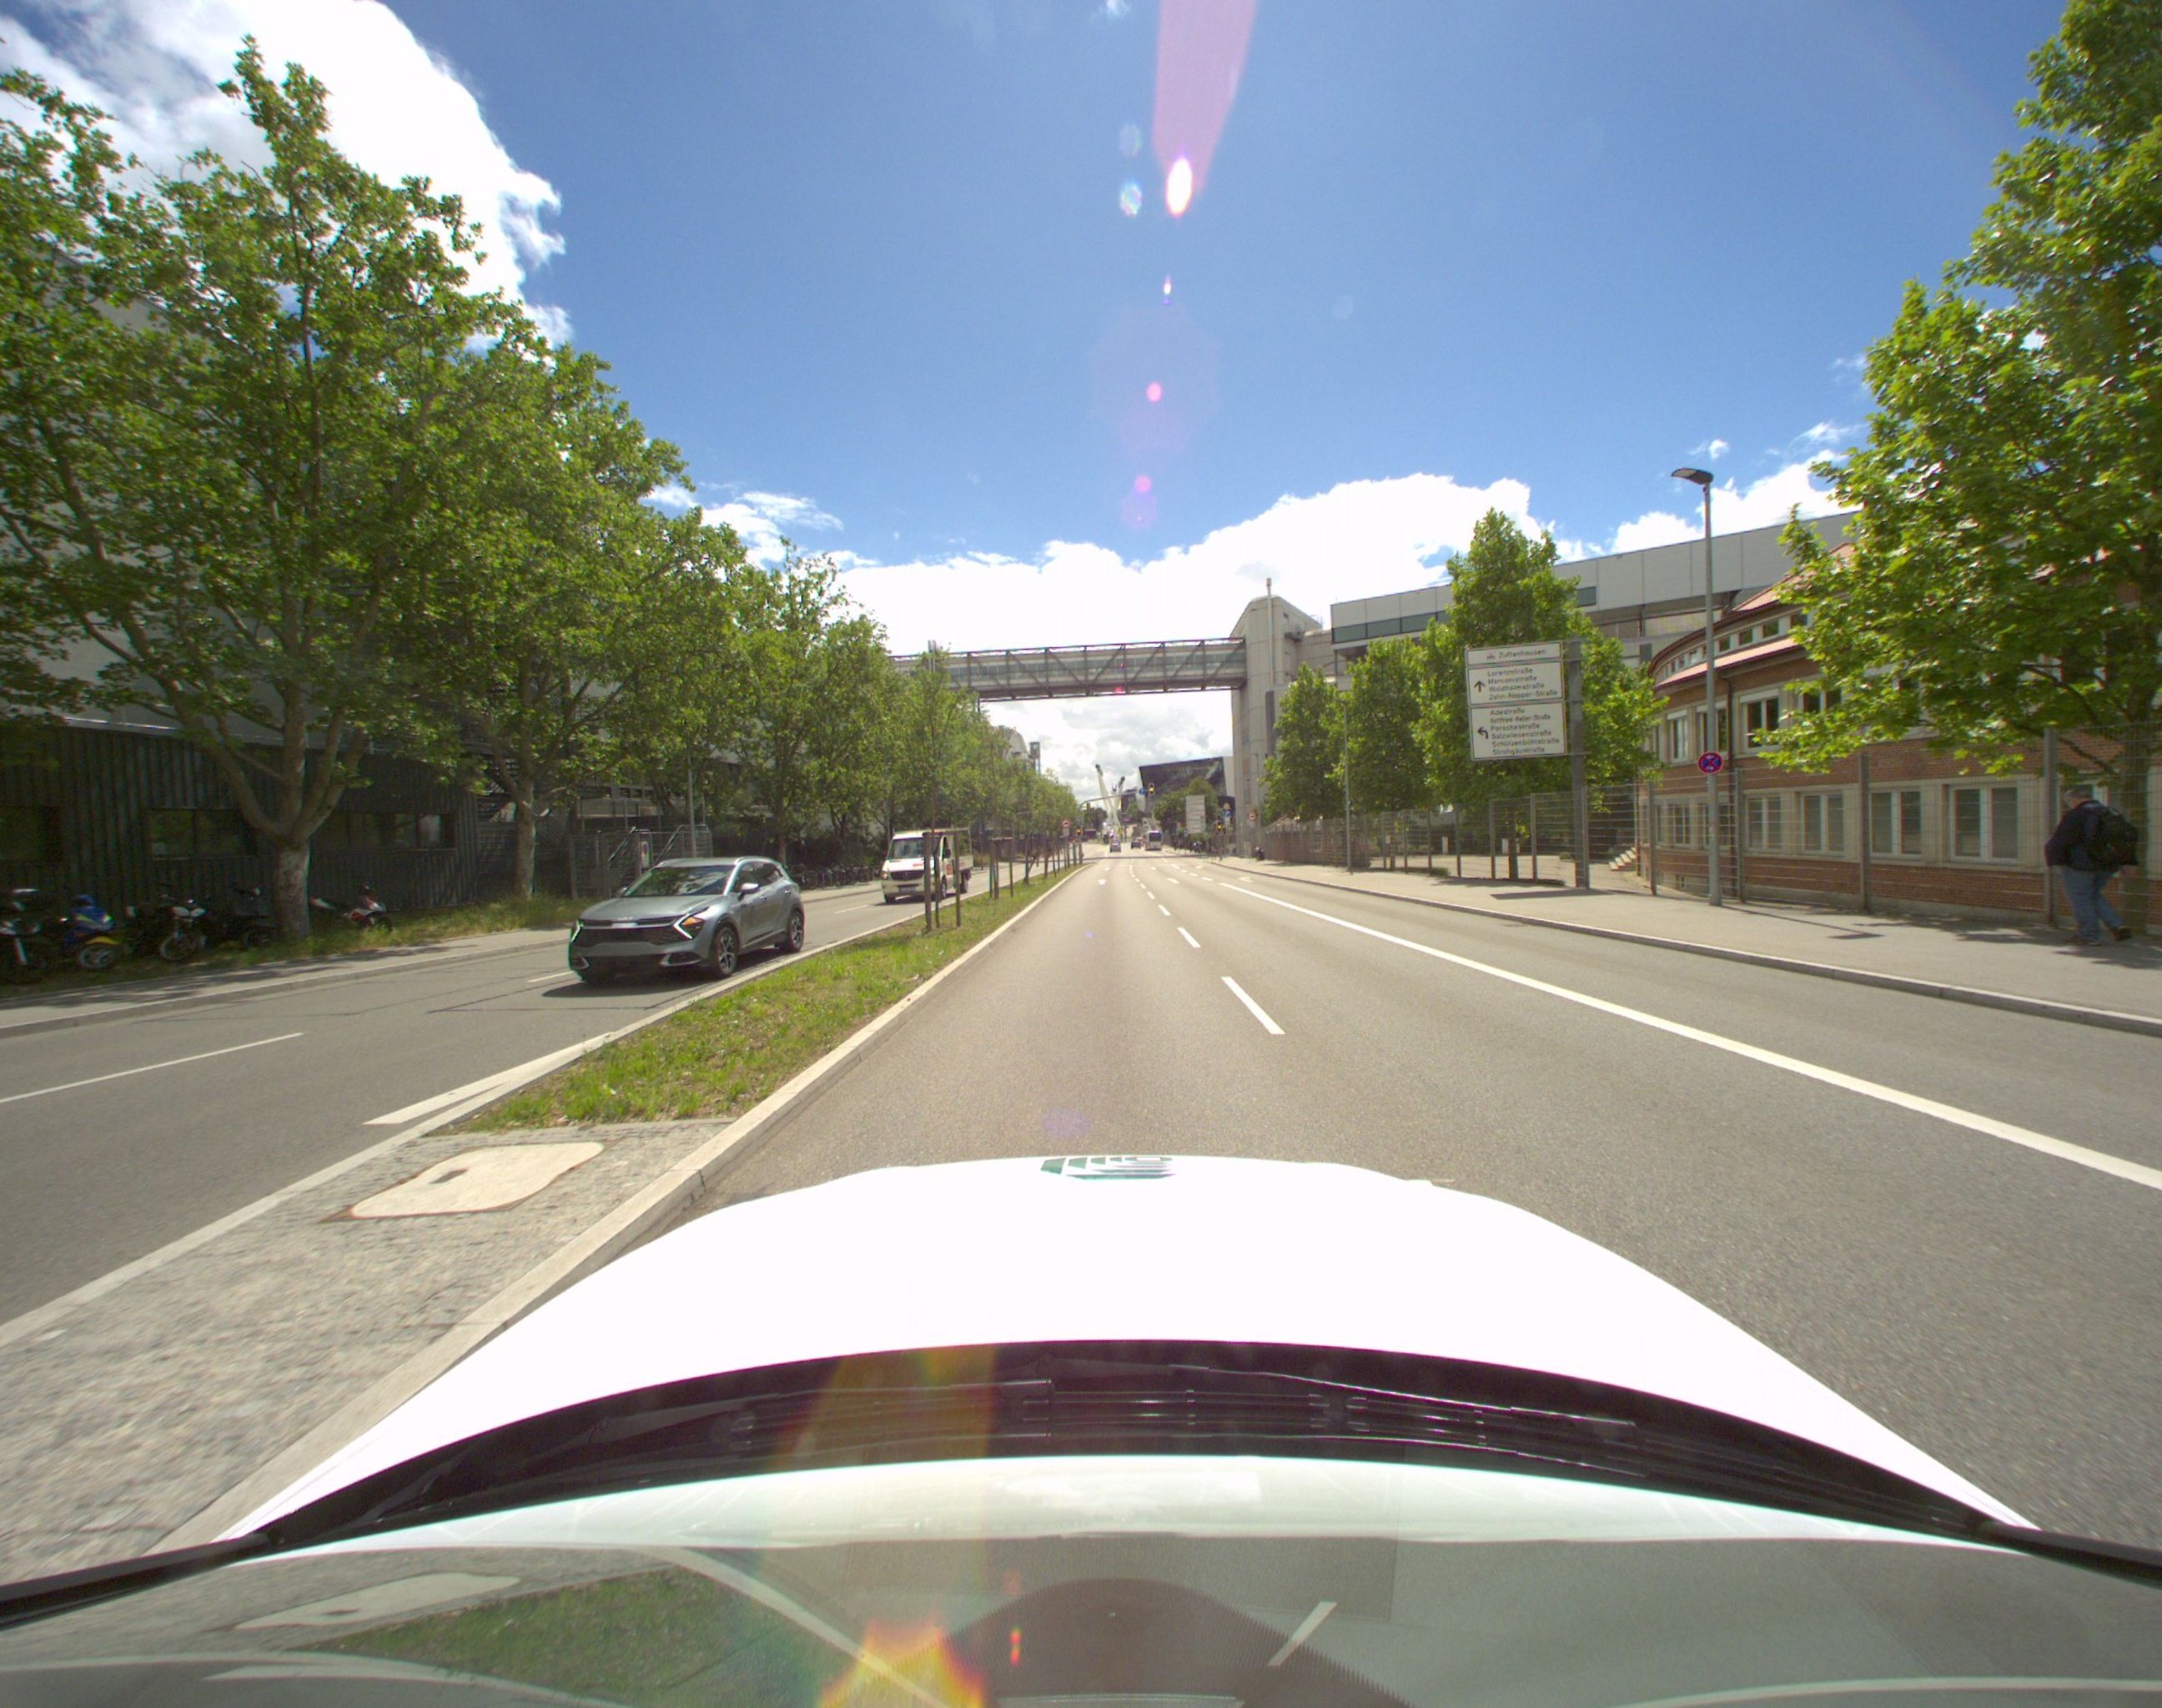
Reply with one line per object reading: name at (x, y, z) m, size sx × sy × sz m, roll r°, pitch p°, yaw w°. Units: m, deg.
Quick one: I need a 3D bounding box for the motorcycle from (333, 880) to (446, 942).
motorcycle at (-14.162, 1.147, 16.692) m, size 1.865 × 1.173 × 0.748 m, roll 0°, pitch 2°, yaw 11°

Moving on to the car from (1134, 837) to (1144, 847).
car at (13.230, -2.719, 186.059) m, size 1.988 × 2.014 × 3.998 m, roll 0°, pitch -1°, yaw -1°

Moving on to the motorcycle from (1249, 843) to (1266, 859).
motorcycle at (13.279, -0.210, 61.176) m, size 0.691 × 1.158 × 2.146 m, roll -3°, pitch 0°, yaw -2°

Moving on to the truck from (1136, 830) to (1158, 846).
truck at (18.834, -4.575, 231.822) m, size 3.423 × 4.391 × 9.469 m, roll -1°, pitch 1°, yaw 21°

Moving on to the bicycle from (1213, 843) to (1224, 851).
bicycle at (16.735, -0.874, 99.020) m, size 0.399 × 0.937 × 1.914 m, roll -1°, pitch 0°, yaw -22°

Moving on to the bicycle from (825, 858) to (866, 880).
bicycle at (-12.568, 0.779, 43.454) m, size 1.912 × 1.122 × 0.806 m, roll -1°, pitch 0°, yaw 0°

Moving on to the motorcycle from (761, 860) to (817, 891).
motorcycle at (-12.916, 0.934, 36.070) m, size 2.127 × 1.309 × 0.806 m, roll -1°, pitch 0°, yaw 0°

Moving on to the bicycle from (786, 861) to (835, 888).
bicycle at (-13.388, 1.008, 40.347) m, size 2.127 × 1.282 × 0.806 m, roll -1°, pitch 0°, yaw 0°

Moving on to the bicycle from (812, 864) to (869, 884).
bicycle at (-13.076, 1.082, 44.311) m, size 2.832 × 1.006 × 0.849 m, roll -1°, pitch 0°, yaw -7°

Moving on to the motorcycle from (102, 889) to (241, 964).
motorcycle at (-15.069, 1.170, 13.502) m, size 1.863 × 1.084 × 0.798 m, roll 1°, pitch 2°, yaw 17°

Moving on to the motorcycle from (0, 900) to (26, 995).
motorcycle at (-14.626, 1.191, 10.276) m, size 1.866 × 1.179 × 0.817 m, roll 0°, pitch 2°, yaw 10°

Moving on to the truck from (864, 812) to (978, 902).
truck at (-5.447, 0.067, 28.841) m, size 2.469 × 2.750 × 6.461 m, roll -2°, pitch 0°, yaw 2°

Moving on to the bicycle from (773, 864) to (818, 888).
bicycle at (-13.327, 1.038, 37.991) m, size 1.917 × 1.074 × 0.422 m, roll -1°, pitch 0°, yaw 0°

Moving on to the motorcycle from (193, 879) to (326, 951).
motorcycle at (-14.756, 1.072, 14.649) m, size 1.866 × 1.186 × 0.732 m, roll 0°, pitch 1°, yaw 10°

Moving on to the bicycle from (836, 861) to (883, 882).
bicycle at (-12.765, 1.004, 46.978) m, size 2.548 × 1.157 × 0.646 m, roll -1°, pitch 0°, yaw 12°

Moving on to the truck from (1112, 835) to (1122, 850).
truck at (9.473, -3.014, 211.714) m, size 2.382 × 3.897 × 6.183 m, roll -1°, pitch 0°, yaw 3°

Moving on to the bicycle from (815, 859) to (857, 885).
bicycle at (-12.773, 0.913, 42.421) m, size 1.912 × 1.282 × 0.806 m, roll -1°, pitch 0°, yaw 0°

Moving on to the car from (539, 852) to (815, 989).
car at (-5.671, 0.811, 12.173) m, size 1.899 × 1.631 × 4.293 m, roll -1°, pitch 0°, yaw 1°

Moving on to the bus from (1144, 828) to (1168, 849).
bus at (13.131, -2.653, 143.447) m, size 3.439 × 3.543 × 10.612 m, roll -1°, pitch 1°, yaw 2°

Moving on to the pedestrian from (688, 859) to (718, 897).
pedestrian at (-15.796, 0.987, 34.010) m, size 0.749 × 1.551 × 0.823 m, roll -1°, pitch 0°, yaw 12°

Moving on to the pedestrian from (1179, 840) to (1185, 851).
pedestrian at (15.955, -1.345, 128.647) m, size 0.634 × 1.741 × 0.821 m, roll -1°, pitch 0°, yaw -6°

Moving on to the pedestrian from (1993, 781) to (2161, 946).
pedestrian at (11.484, 0.101, 9.345) m, size 0.874 × 1.743 × 0.941 m, roll -4°, pitch 0°, yaw 1°

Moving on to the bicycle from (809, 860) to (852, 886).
bicycle at (-12.679, 0.959, 41.248) m, size 1.912 × 1.282 × 0.806 m, roll -1°, pitch 0°, yaw 0°

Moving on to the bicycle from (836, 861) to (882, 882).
bicycle at (-13.125, 1.021, 48.133) m, size 2.548 × 1.157 × 0.728 m, roll -1°, pitch 0°, yaw 12°

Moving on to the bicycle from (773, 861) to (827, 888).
bicycle at (-12.837, 0.936, 37.237) m, size 2.127 × 1.180 × 0.806 m, roll -1°, pitch 0°, yaw 0°

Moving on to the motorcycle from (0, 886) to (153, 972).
motorcycle at (-15.408, 1.129, 12.415) m, size 1.868 × 1.209 × 0.656 m, roll 0°, pitch 2°, yaw 5°

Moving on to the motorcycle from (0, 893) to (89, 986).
motorcycle at (-15.175, 1.170, 11.389) m, size 1.868 × 1.179 × 0.699 m, roll 0°, pitch 2°, yaw 5°

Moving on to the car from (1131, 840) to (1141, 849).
car at (10.711, -1.903, 159.083) m, size 1.731 × 1.741 × 3.695 m, roll -1°, pitch 0°, yaw 3°

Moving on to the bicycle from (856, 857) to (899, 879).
bicycle at (-12.233, 0.866, 49.008) m, size 2.394 × 1.258 × 0.556 m, roll -1°, pitch 0°, yaw 3°

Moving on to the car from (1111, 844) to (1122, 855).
car at (5.841, -0.683, 134.605) m, size 1.731 × 1.741 × 3.695 m, roll -1°, pitch 0°, yaw 3°

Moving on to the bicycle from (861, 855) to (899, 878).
bicycle at (-12.385, 0.779, 50.159) m, size 2.157 × 1.363 × 0.490 m, roll -1°, pitch 0°, yaw 3°

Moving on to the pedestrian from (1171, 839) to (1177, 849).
pedestrian at (14.671, -1.580, 128.859) m, size 0.817 × 1.707 × 0.882 m, roll -1°, pitch 0°, yaw 3°

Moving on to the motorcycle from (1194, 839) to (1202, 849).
motorcycle at (15.063, -1.255, 104.941) m, size 0.703 × 1.203 × 2.026 m, roll -3°, pitch 1°, yaw 3°

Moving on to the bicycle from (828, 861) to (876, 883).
bicycle at (-12.985, 1.028, 46.192) m, size 2.548 × 1.096 × 0.698 m, roll -3°, pitch 0°, yaw 12°
